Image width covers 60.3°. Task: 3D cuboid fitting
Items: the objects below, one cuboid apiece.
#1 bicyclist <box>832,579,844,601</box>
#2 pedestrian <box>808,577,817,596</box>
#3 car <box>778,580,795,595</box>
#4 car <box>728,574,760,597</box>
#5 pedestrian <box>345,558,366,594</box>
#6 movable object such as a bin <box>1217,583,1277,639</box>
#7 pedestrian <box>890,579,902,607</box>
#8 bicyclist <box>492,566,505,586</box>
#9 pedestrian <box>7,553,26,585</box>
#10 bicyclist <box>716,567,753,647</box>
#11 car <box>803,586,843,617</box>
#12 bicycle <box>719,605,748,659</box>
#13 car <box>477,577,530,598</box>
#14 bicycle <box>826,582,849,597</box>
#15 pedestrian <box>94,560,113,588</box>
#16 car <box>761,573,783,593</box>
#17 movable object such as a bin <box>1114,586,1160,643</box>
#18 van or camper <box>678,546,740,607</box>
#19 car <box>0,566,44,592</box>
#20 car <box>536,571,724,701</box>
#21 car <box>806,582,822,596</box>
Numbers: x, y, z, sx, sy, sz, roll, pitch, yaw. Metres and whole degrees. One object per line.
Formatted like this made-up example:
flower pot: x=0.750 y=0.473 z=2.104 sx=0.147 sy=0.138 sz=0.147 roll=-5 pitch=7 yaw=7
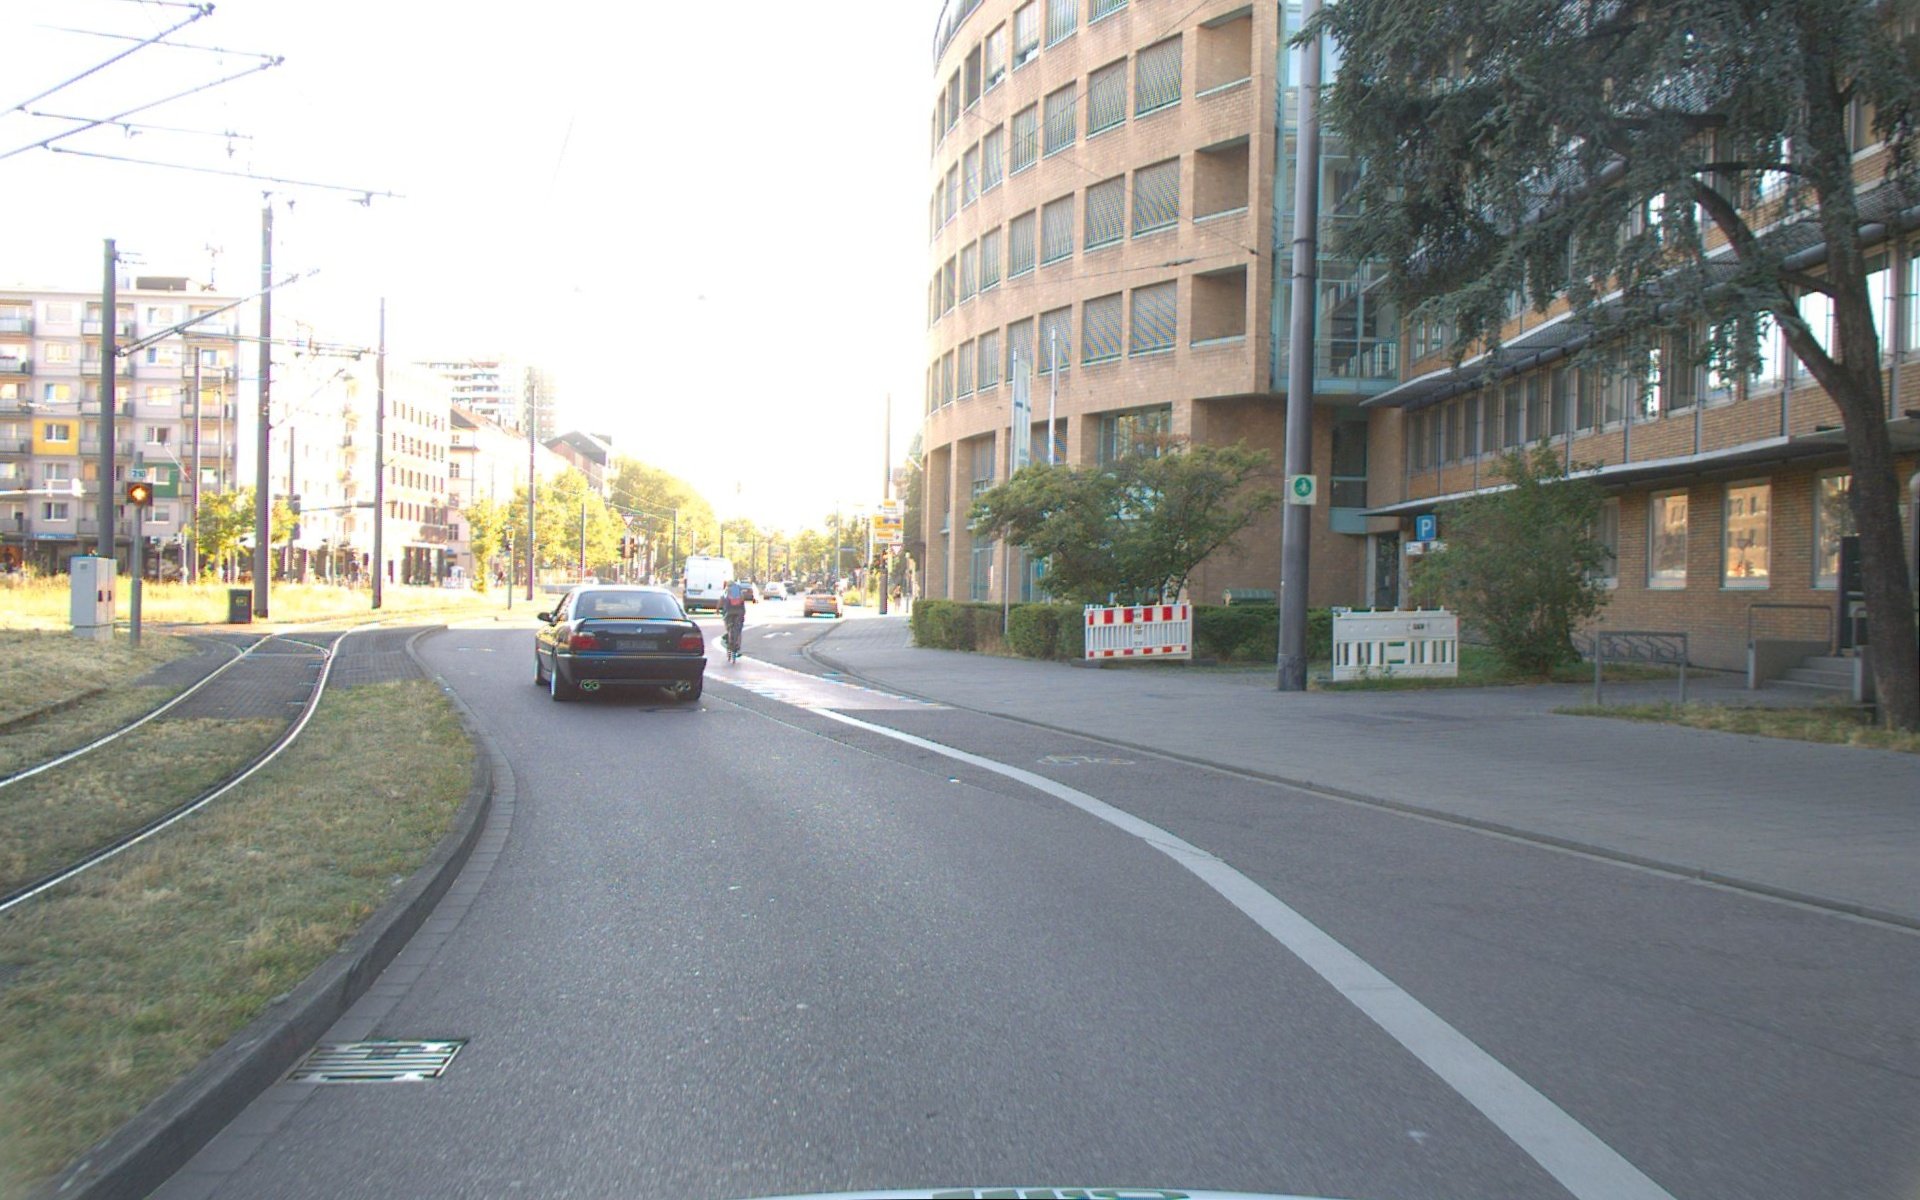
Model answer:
bicyclist: x=-8.903 y=-0.732 z=120.715 sx=0.782 sy=1.598 sz=0.662 roll=1 pitch=1 yaw=-5
pedestrian: x=-12.097 y=-1.115 z=135.283 sx=0.603 sy=1.501 sz=0.800 roll=1 pitch=1 yaw=2
car: x=-19.271 y=-1.408 z=183.918 sx=1.759 sy=1.593 sz=3.996 roll=1 pitch=2 yaw=-6
car: x=-14.302 y=-0.961 z=109.705 sx=1.702 sy=1.410 sz=4.000 roll=1 pitch=2 yaw=-1
pedestrian: x=-30.446 y=-1.212 z=83.289 sx=0.704 sy=1.793 sz=0.650 roll=1 pitch=1 yaw=19
movable object such as a bin: x=7.582 y=0.288 z=43.759 sx=1.316 sy=1.449 sz=0.922 roll=1 pitch=1 yaw=-9
pedestrian: x=-3.678 y=-0.426 z=95.287 sx=0.663 sy=1.597 sz=0.799 roll=1 pitch=1 yaw=-4
bicyclist: x=-36.798 y=-1.911 z=131.894 sx=0.841 sy=1.467 sz=0.659 roll=3 pitch=1 yaw=-22
pedestrian: x=-56.394 y=-1.861 z=98.832 sx=0.690 sy=1.884 sz=0.737 roll=1 pitch=1 yaw=-2
bicyclist: x=-4.453 y=0.134 z=32.631 sx=0.643 sy=1.509 sz=1.036 roll=3 pitch=0 yaw=-9
car: x=-6.683 y=0.061 z=81.110 sx=1.748 sy=1.377 sz=4.265 roll=2 pitch=1 yaw=-3
bicycle: x=-4.488 y=0.617 z=32.766 sx=0.505 sy=0.971 sz=1.772 roll=3 pitch=1 yaw=-8
car: x=-36.946 y=-1.014 z=133.775 sx=3.933 sy=1.459 sz=1.706 roll=2 pitch=2 yaw=-24
bicycle: x=-8.946 y=-0.756 z=120.715 sx=1.695 sy=0.987 sz=0.609 roll=2 pitch=1 yaw=-6
pedestrian: x=-51.618 y=-1.580 z=99.711 sx=0.724 sy=1.698 sz=0.783 roll=1 pitch=1 yaw=-1
car: x=-15.750 y=-1.410 z=138.966 sx=1.759 sy=1.593 sz=3.996 roll=1 pitch=2 yaw=-6
movable object such as a bin: x=4.711 y=0.369 z=44.032 sx=0.950 sy=1.462 sz=1.346 roll=1 pitch=2 yaw=17
van or camper: x=-11.491 y=-1.102 z=75.922 sx=2.217 sy=2.670 sz=4.502 roll=1 pitch=2 yaw=-1
car: x=-61.316 y=-1.382 z=106.377 sx=3.791 sy=1.612 sz=1.801 roll=1 pitch=2 yaw=-7
car: x=-4.411 y=0.395 z=21.564 sx=1.802 sy=1.377 sz=4.618 roll=2 pitch=2 yaw=-19
car: x=-17.267 y=-1.287 z=195.630 sx=1.759 sy=1.593 sz=3.996 roll=1 pitch=2 yaw=-6
